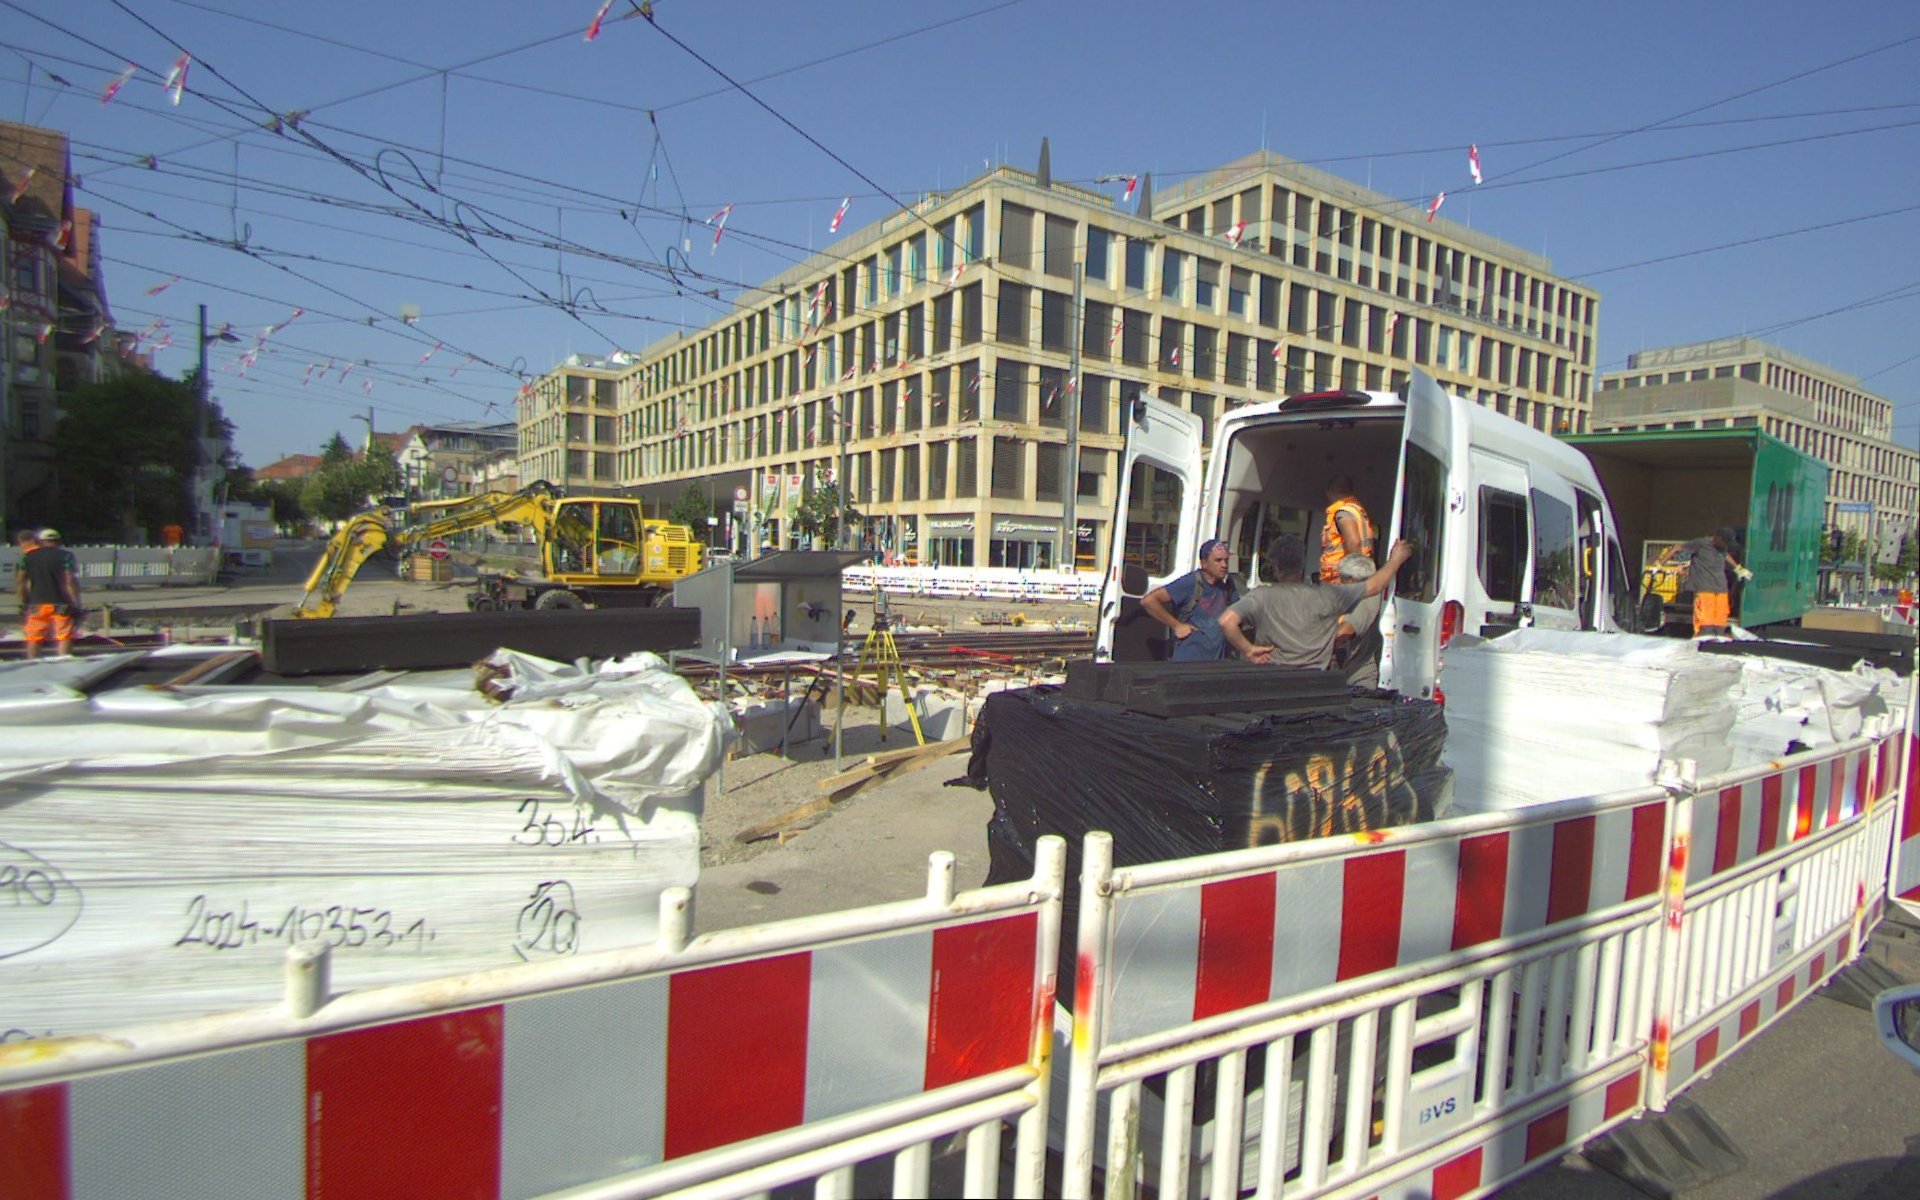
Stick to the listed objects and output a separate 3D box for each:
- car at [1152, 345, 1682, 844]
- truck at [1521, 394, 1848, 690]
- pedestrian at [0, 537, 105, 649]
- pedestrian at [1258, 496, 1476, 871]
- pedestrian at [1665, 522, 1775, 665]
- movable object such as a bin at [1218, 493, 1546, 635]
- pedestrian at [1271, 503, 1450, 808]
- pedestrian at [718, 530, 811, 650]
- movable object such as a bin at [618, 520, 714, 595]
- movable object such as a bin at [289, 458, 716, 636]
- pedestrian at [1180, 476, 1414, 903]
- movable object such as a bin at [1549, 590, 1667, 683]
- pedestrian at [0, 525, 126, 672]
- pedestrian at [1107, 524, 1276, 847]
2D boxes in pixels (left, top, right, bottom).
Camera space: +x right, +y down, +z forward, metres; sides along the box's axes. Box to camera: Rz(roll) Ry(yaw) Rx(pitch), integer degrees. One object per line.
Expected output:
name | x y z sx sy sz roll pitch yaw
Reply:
car | 3.978 -0.109 8.173 2.202 2.766 5.137 4 4 44
truck | 12.131 -0.865 16.446 8.153 3.728 2.648 -2 4 -43
pedestrian | -12.496 -0.117 13.762 1.009 1.461 1.135 0 3 -33
pedestrian | 2.398 0.444 5.967 0.895 2.041 0.731 0 3 -27
pedestrian | 9.482 -0.098 12.563 0.750 1.717 0.707 2 3 2
movable object such as a bin | 13.025 -1.096 31.429 8.878 4.068 3.508 0 3 -10
pedestrian | 2.869 0.362 7.238 0.896 2.041 0.731 0 3 -28
pedestrian | -3.239 -0.184 16.689 1.001 1.891 1.144 3 3 25
movable object such as a bin | -11.797 -1.732 39.945 2.113 2.776 5.577 0 3 -33
movable object such as a bin | -9.929 -1.078 22.428 8.253 3.375 2.830 0 3 -32
pedestrian | 1.694 0.426 5.194 0.889 2.041 0.736 1 3 0
movable object such as a bin | 8.322 0.442 12.898 1.464 1.107 0.640 0 3 -30
pedestrian | -10.553 -0.046 11.550 1.001 1.611 1.144 1 3 -7
pedestrian | 1.518 0.539 6.728 0.889 2.041 0.736 1 3 -2
